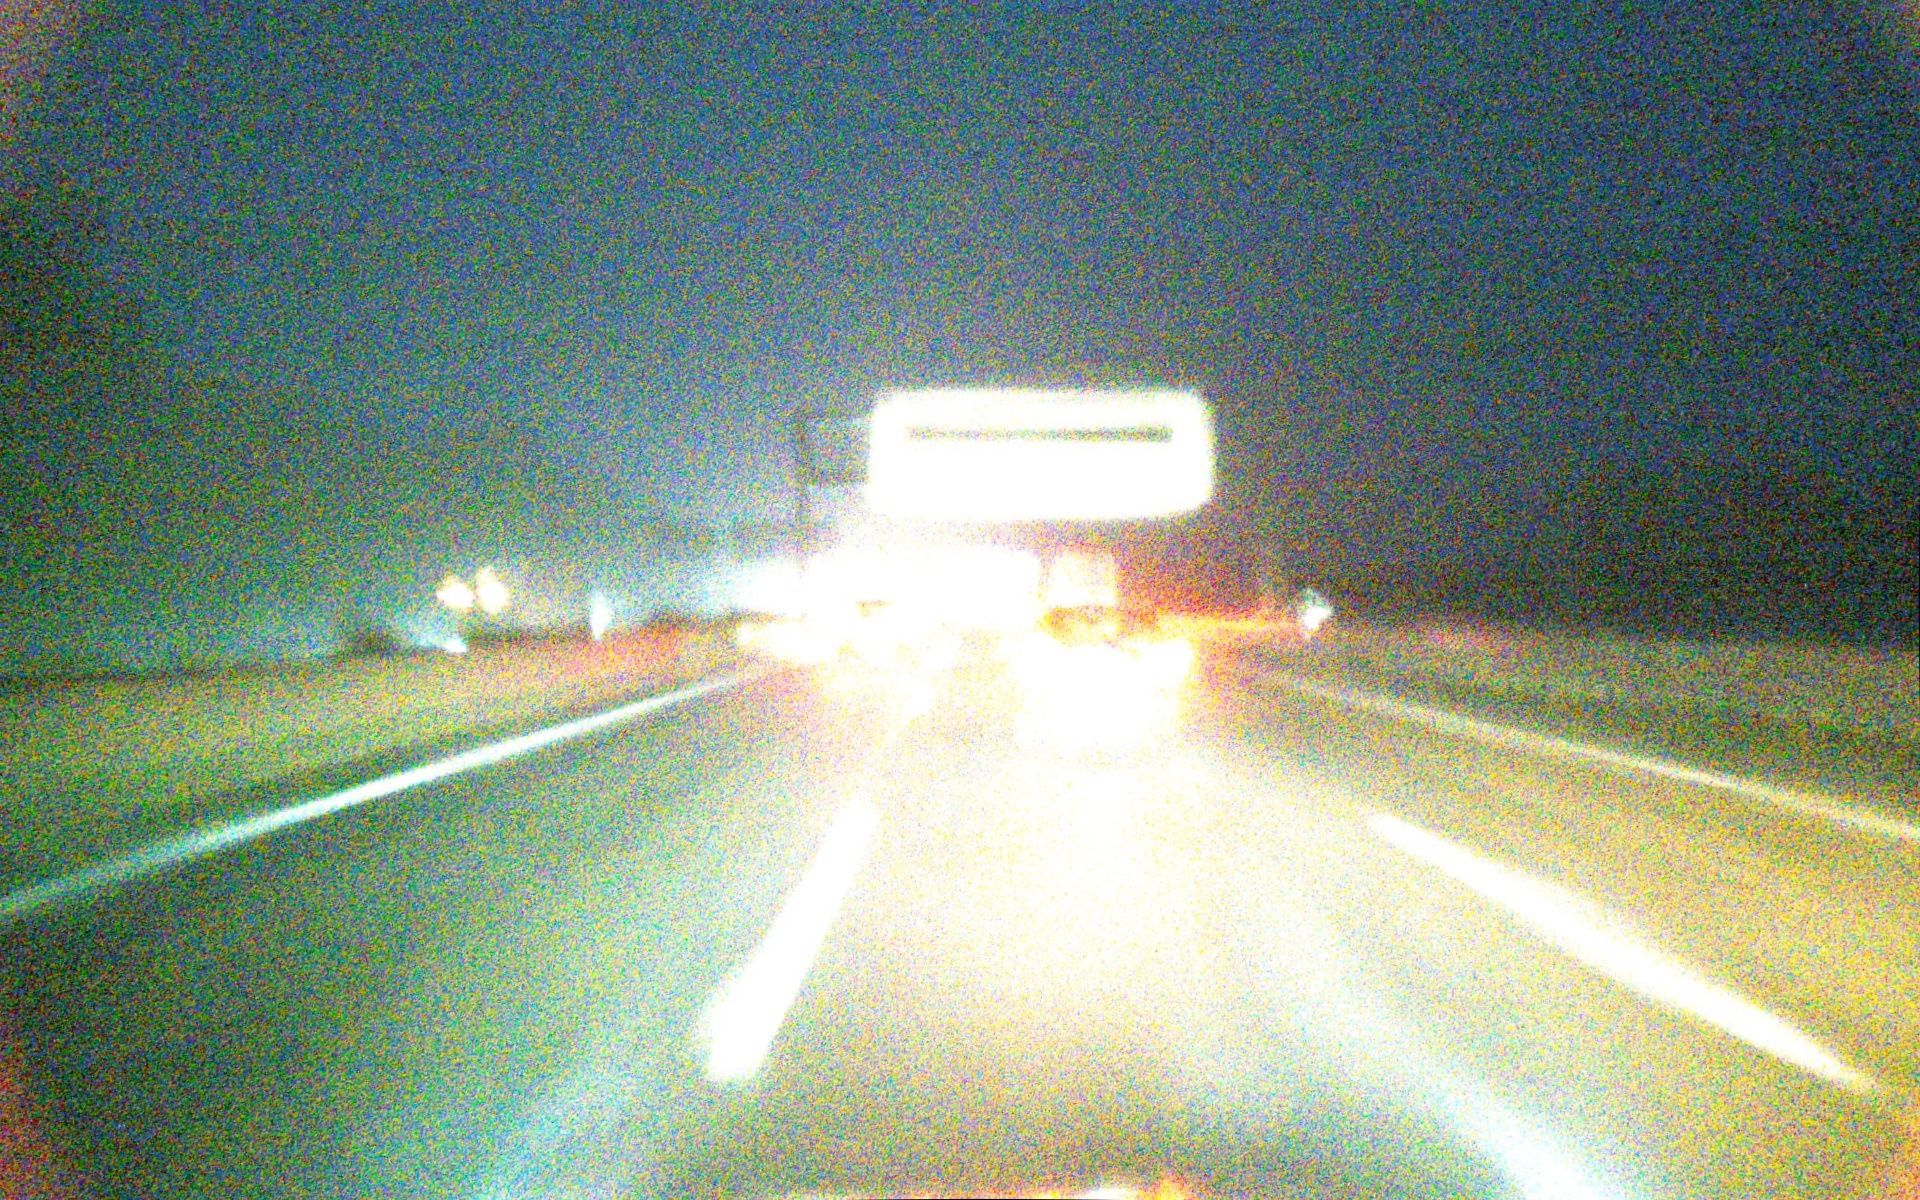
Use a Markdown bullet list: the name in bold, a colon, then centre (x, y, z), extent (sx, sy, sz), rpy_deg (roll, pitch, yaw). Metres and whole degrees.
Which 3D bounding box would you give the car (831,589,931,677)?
- **car**: centre (-1.740, 0.717, 37.833), extent (1.953, 1.808, 4.887), rpy_deg (-2, 0, 0)

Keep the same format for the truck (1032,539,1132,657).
- **truck**: centre (6.236, -0.074, 87.290), extent (4.082, 5.641, 13.072), rpy_deg (-2, 0, 0)

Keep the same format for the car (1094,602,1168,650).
- **car**: centre (5.390, 0.791, 52.610), extent (1.851, 1.378, 3.999), rpy_deg (2, 0, -1)

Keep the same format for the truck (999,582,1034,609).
- **truck**: centre (6.921, -0.497, 204.533), extent (3.757, 3.108, 11.002), rpy_deg (1, 0, -1)

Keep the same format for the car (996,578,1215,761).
- **car**: centre (1.392, 0.651, 17.415), extent (1.877, 1.622, 4.233), rpy_deg (-2, 0, 0)

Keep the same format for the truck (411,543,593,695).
- **truck**: centre (-18.670, 0.697, 68.693), extent (3.763, 5.641, 12.212), rpy_deg (2, 0, 1)
